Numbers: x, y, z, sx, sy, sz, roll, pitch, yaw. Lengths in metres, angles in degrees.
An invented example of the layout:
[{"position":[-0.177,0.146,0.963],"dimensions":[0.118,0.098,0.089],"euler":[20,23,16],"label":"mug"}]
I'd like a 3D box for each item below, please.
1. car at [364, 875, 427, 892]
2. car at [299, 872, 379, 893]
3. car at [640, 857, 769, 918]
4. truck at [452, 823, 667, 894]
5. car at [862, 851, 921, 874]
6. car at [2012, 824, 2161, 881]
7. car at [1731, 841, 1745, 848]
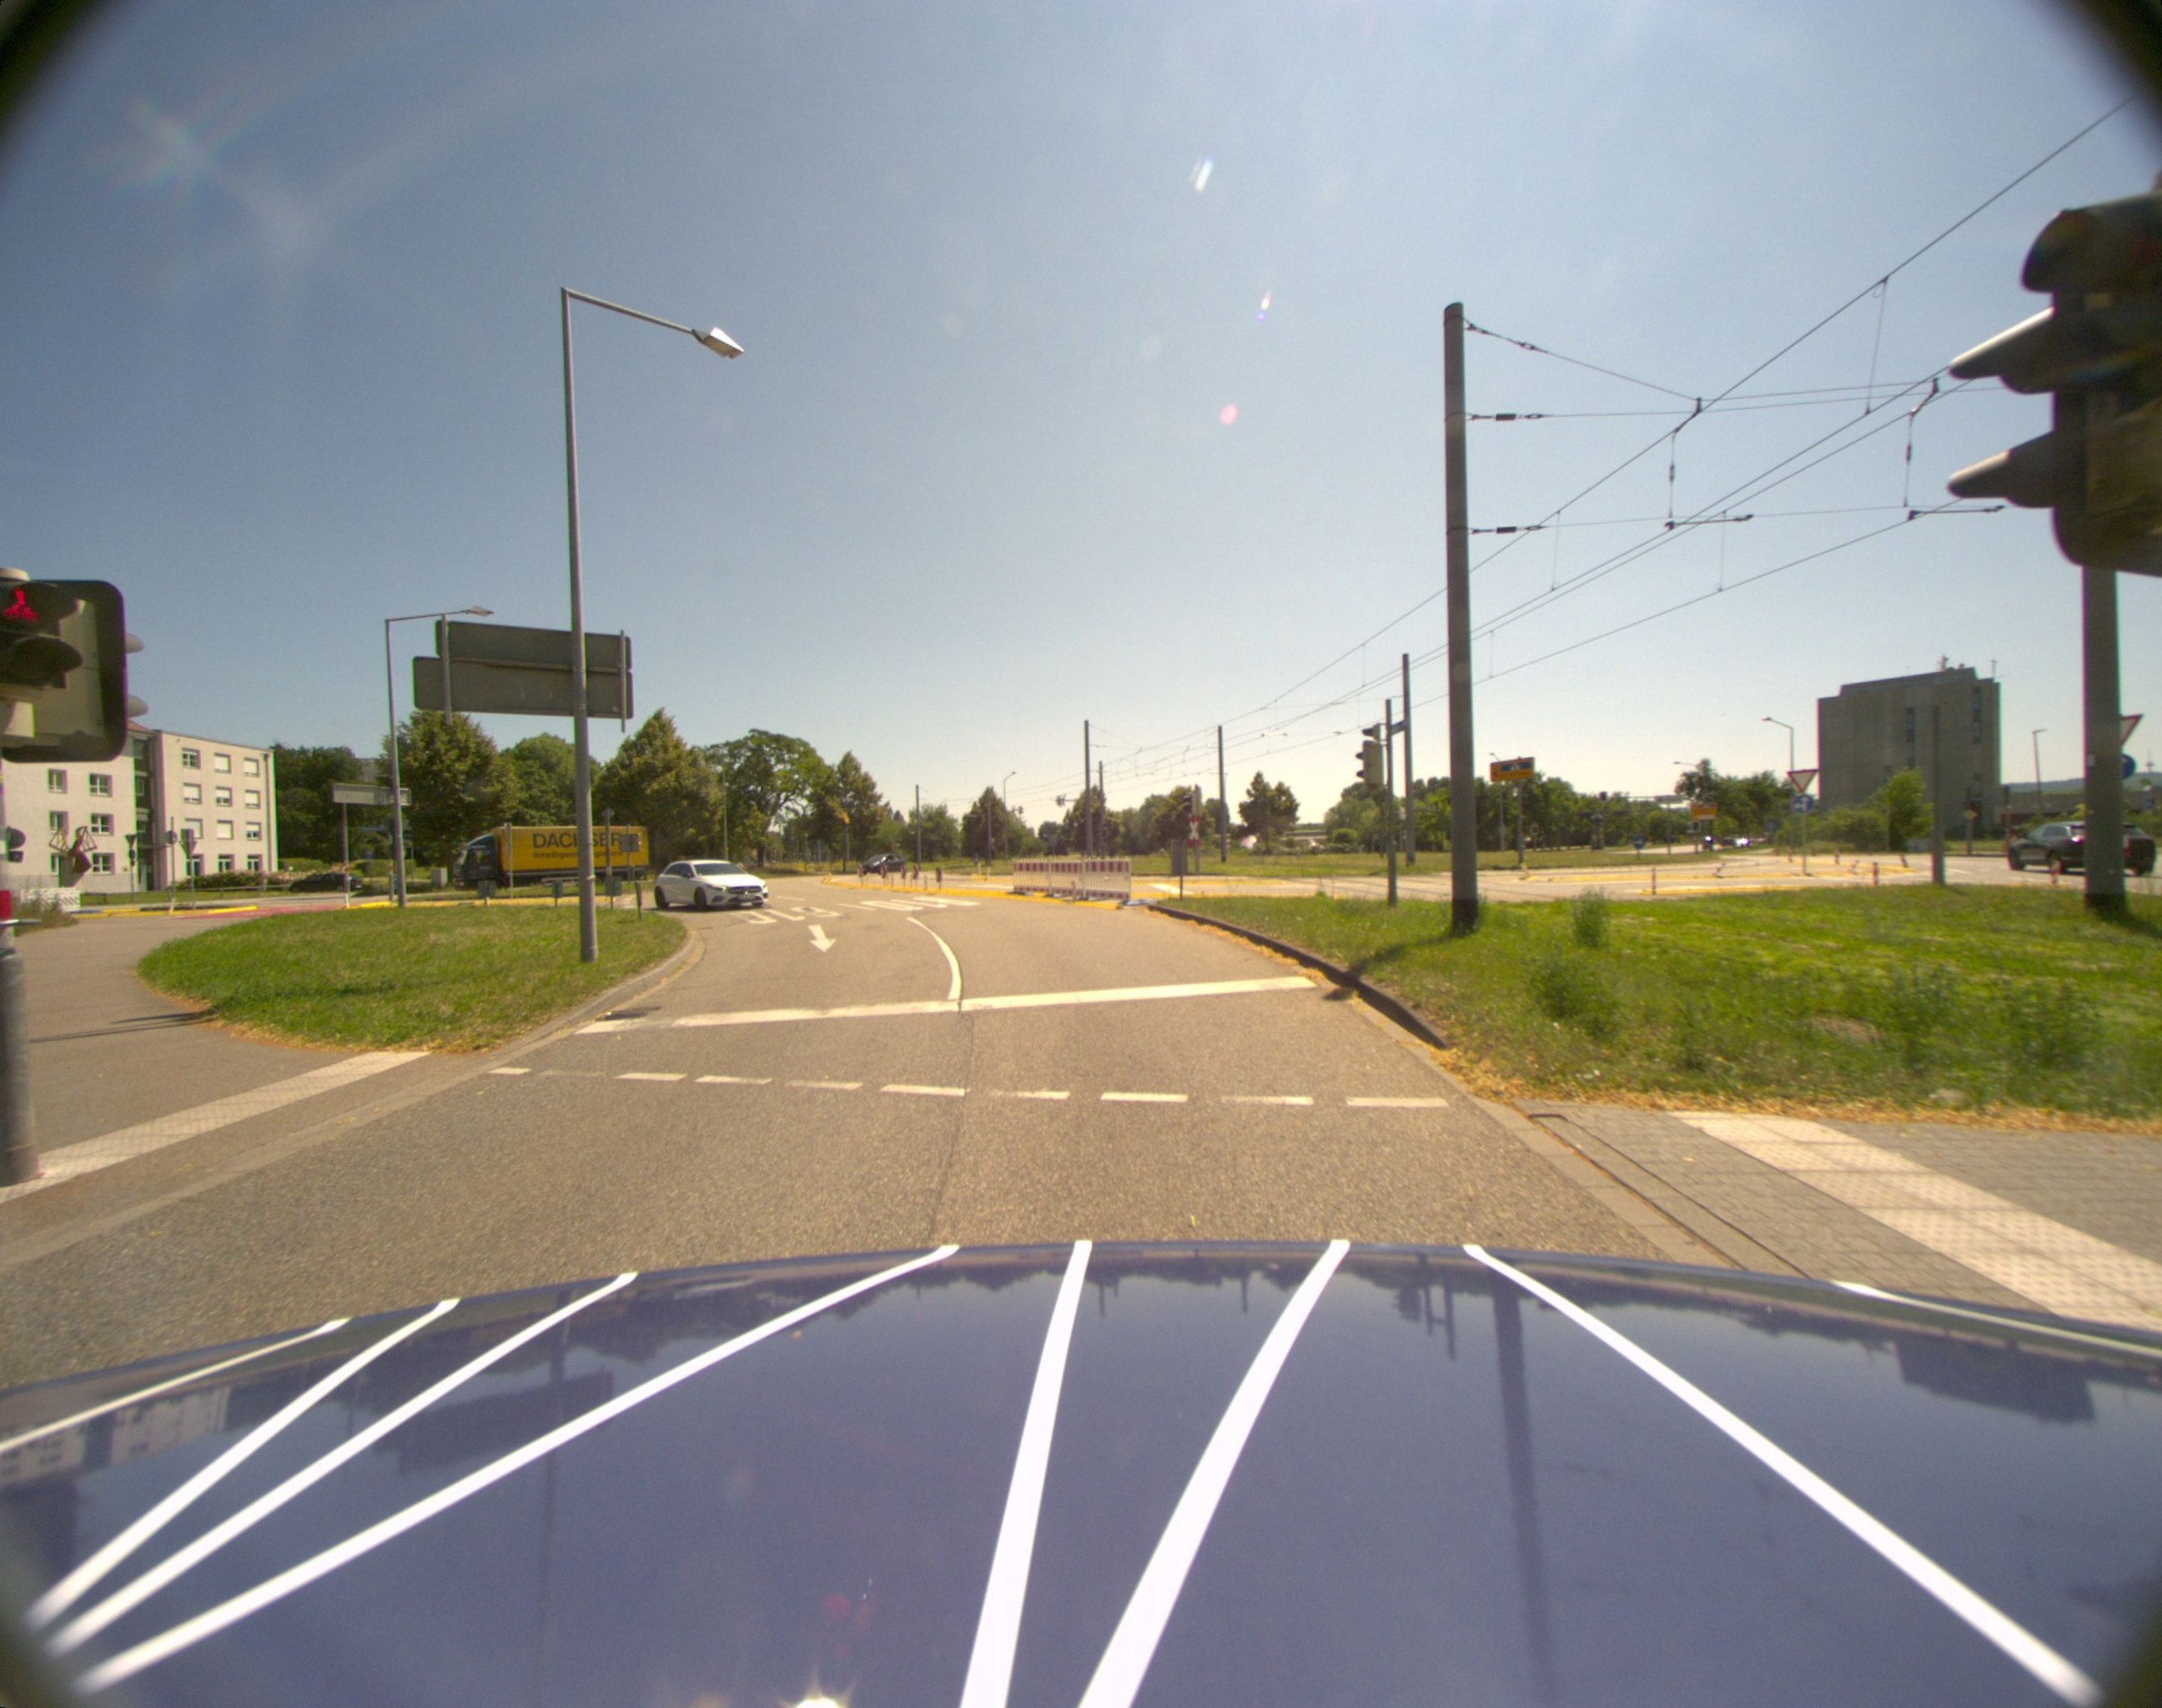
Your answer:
[{"position":[-55.236,2.337,61.258],"dimensions":[3.515,1.210,1.355],"euler":[-2,1,-14],"label":"car"},{"position":[-53.787,2.026,55.136],"dimensions":[3.809,1.319,1.657],"euler":[-2,1,-14],"label":"car"},{"position":[-11.052,0.904,22.205],"dimensions":[3.951,1.537,1.785],"euler":[0,2,38],"label":"car"},{"position":[-29.379,0.152,43.419],"dimensions":[2.700,3.638,9.635],"euler":[-1,1,40],"label":"truck"},{"position":[-13.021,0.552,52.369],"dimensions":[1.975,1.410,4.005],"euler":[-1,1,20],"label":"car"},{"position":[30.406,-0.103,22.460],"dimensions":[1.994,1.509,5.847],"euler":[-1,1,33],"label":"car"},{"position":[105.209,-1.536,121.625],"dimensions":[1.493,1.083,3.527],"euler":[-1,1,44],"label":"car"}]
